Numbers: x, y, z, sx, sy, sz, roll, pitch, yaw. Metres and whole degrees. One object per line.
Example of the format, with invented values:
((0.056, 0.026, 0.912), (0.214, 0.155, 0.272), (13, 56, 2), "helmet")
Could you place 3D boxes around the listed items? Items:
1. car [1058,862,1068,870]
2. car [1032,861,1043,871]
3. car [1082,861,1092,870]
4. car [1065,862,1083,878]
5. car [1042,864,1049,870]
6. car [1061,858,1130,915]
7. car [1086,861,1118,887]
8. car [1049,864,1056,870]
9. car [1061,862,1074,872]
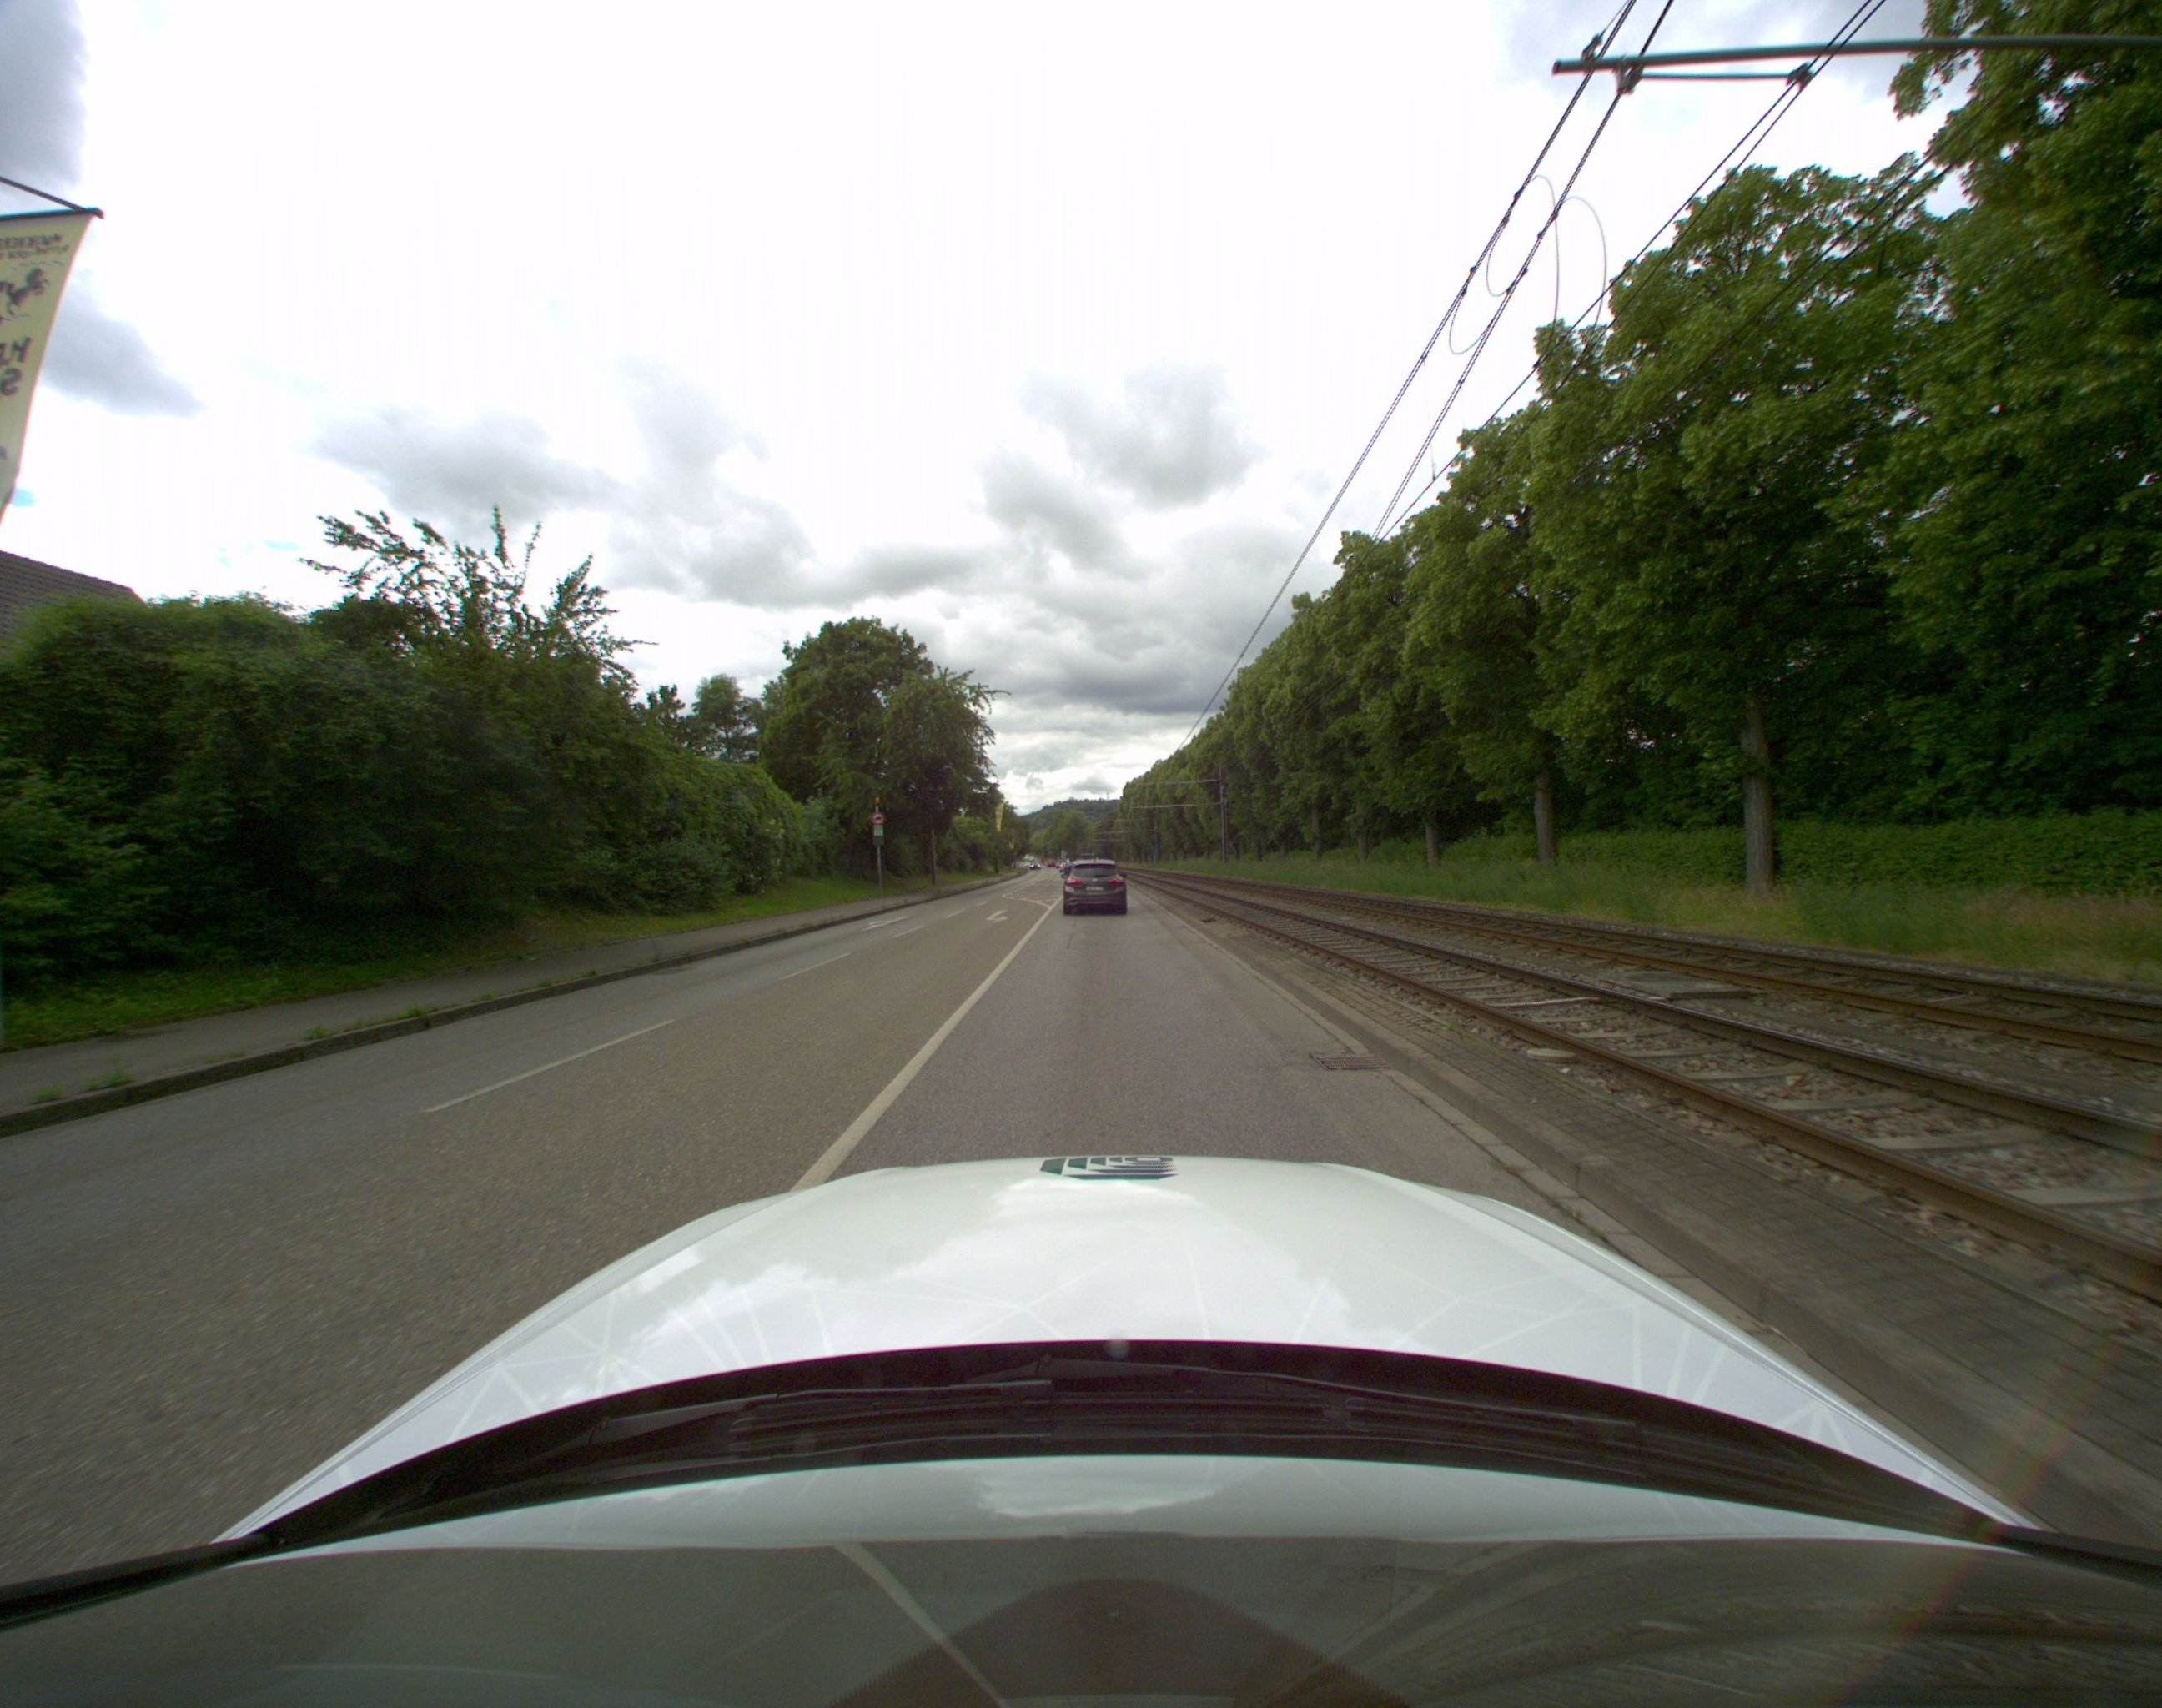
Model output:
((-3.797, 2.501, 172.303), (1.788, 1.510, 4.000), (-1, -1, 0), "car")
((-8.996, 2.552, 168.855), (1.988, 2.036, 5.112), (-2, -1, -2), "car")
((1.009, 1.953, 134.985), (1.694, 1.443, 4.000), (-1, -1, 0), "car")
((-0.751, 1.561, 80.330), (1.695, 1.443, 3.997), (-1, -1, -1), "car")
((-10.170, 3.693, 235.830), (1.694, 1.714, 4.000), (-1, -1, 0), "car")
((0.444, 0.890, 23.795), (1.844, 1.493, 4.001), (-1, 0, 1), "car")
((1.213, 1.139, 48.059), (1.694, 1.443, 3.998), (-1, -1, -1), "car")
((-7.905, 3.583, 225.085), (1.694, 1.714, 4.000), (-1, -1, 0), "car")
((-1.796, 1.783, 112.048), (1.694, 1.443, 4.000), (-1, -1, 0), "car")
